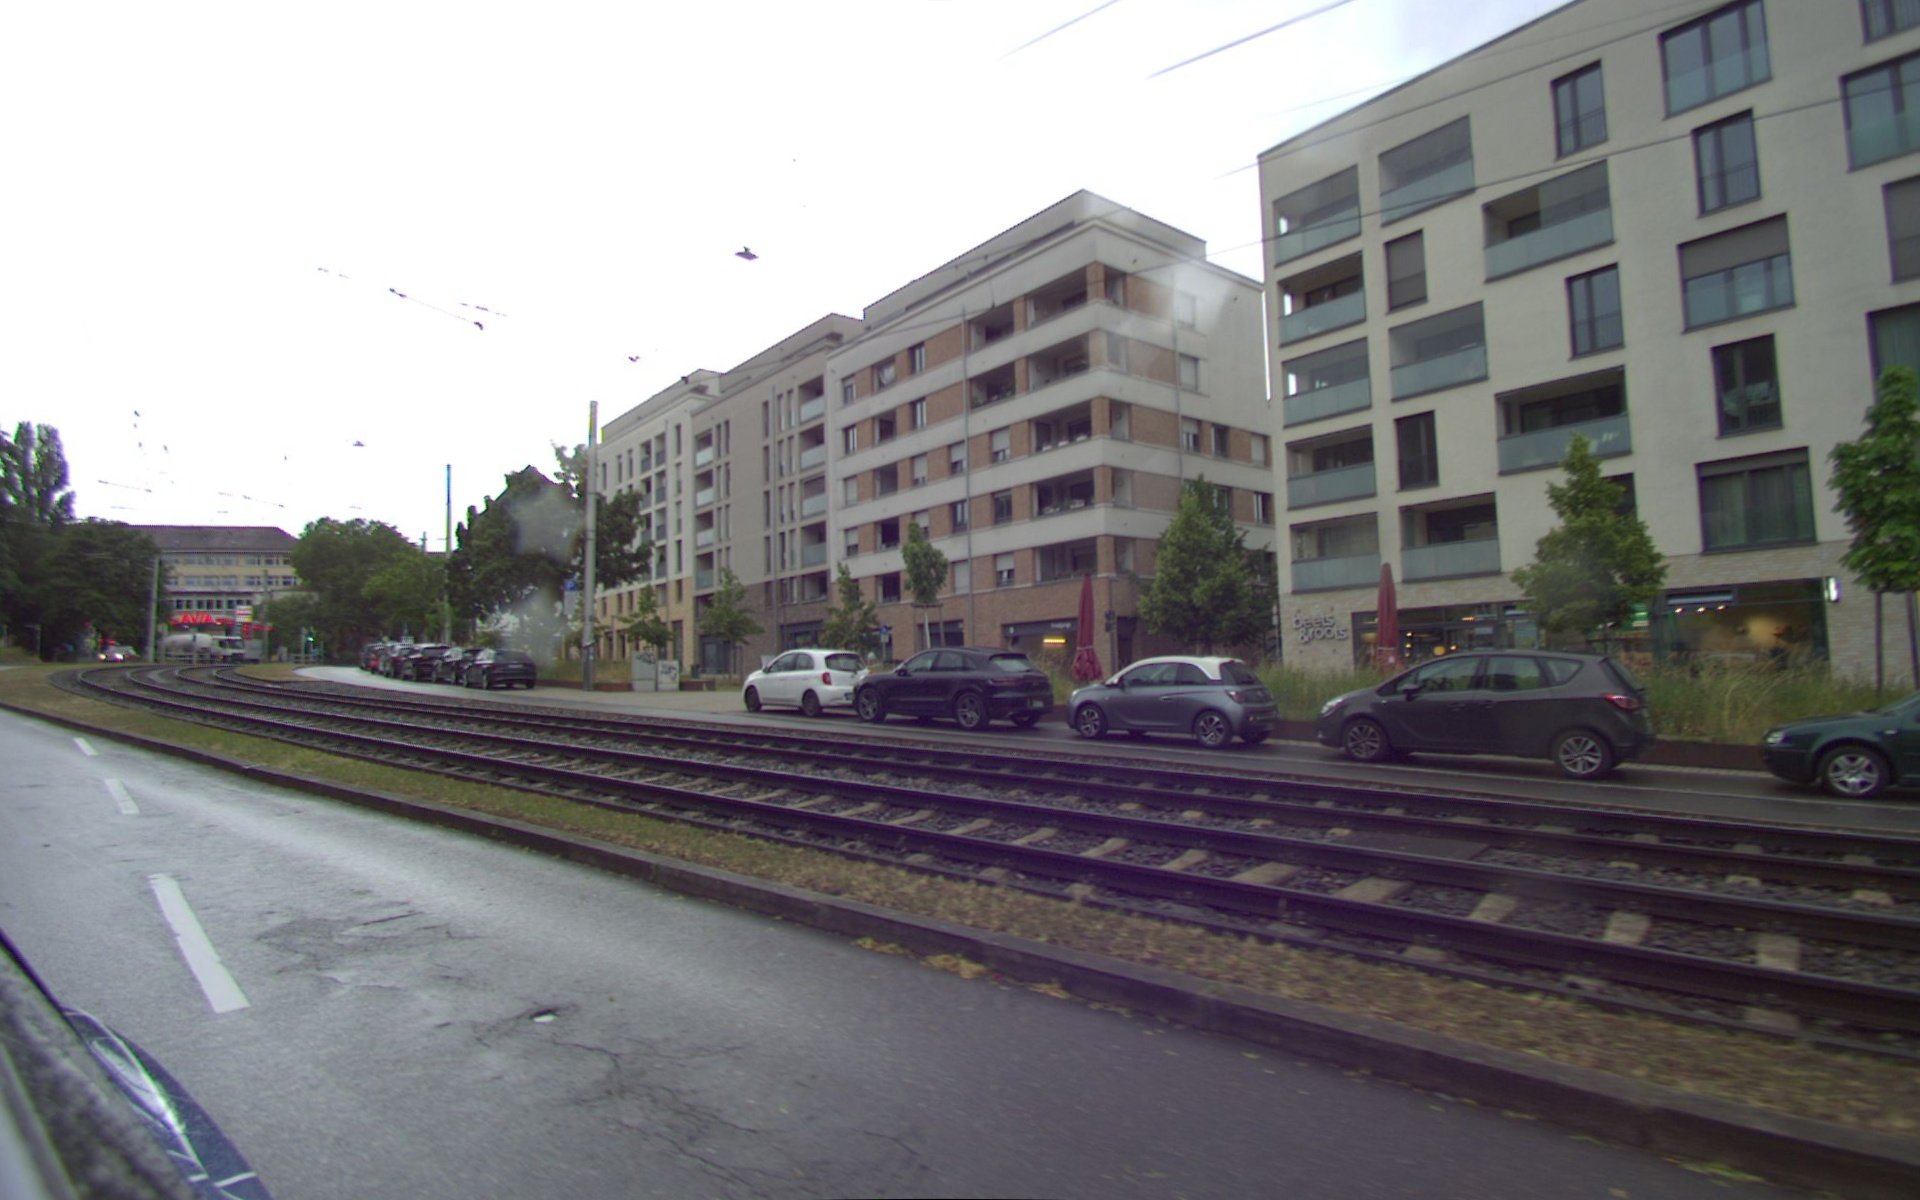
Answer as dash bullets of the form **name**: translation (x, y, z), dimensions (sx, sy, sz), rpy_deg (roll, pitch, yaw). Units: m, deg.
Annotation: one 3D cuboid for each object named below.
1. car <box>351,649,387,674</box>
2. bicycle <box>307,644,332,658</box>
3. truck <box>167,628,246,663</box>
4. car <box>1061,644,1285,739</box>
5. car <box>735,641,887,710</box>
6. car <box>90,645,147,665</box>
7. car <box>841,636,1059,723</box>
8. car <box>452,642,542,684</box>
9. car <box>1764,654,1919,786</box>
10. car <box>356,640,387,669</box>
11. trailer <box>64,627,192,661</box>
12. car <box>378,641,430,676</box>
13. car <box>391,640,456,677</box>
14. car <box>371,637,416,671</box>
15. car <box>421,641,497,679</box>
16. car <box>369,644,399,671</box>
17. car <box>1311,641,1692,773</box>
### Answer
- **car**: translation (-41.814, 4.304, 71.595), dimensions (1.966, 1.617, 4.226), rpy_deg (-1, -2, -33)
- **bicycle**: translation (-54.420, 4.329, 86.009), dimensions (1.684, 1.149, 0.627), rpy_deg (3, -5, -37)
- **truck**: translation (-78.617, 4.801, 105.694), dimensions (6.019, 3.426, 2.846), rpy_deg (2, -5, -26)
- **car**: translation (3.571, 1.505, 17.262), dimensions (3.449, 1.446, 1.533), rpy_deg (-2, -5, 41)
- **car**: translation (-3.589, 1.749, 23.928), dimensions (1.744, 1.490, 3.738), rpy_deg (4, -5, -42)
- **car**: translation (-66.331, 4.364, 79.809), dimensions (1.859, 1.502, 3.859), rpy_deg (1, -4, -13)
- **car**: translation (-0.279, 1.567, 20.582), dimensions (4.403, 1.573, 1.747), rpy_deg (-2, -5, 41)
- **car**: translation (-17.357, 2.329, 37.823), dimensions (1.942, 1.442, 4.205), rpy_deg (2, -4, -41)
- **car**: translation (11.149, 1.267, 10.745), dimensions (4.007, 1.373, 1.533), rpy_deg (-2, -4, 41)
- **car**: translation (-39.267, 3.623, 67.463), dimensions (1.560, 1.873, 4.344), rpy_deg (0, -3, -34)
- **trailer**: translation (-84.720, 4.553, 103.287), dimensions (9.667, 3.422, 2.822), rpy_deg (1, -4, -17)
- **car**: translation (-27.801, 2.916, 50.545), dimensions (1.709, 1.657, 4.542), rpy_deg (2, -4, -36)
- **car**: translation (-24.548, 2.648, 46.224), dimensions (1.780, 1.596, 4.707), rpy_deg (2, -4, -39)
- **car**: translation (-31.114, 2.978, 55.535), dimensions (1.641, 1.761, 4.267), rpy_deg (2, -4, -36)
- **car**: translation (-21.179, 2.504, 42.680), dimensions (1.716, 1.501, 4.261), rpy_deg (2, -4, -43)
- **car**: translation (-33.719, 3.360, 59.271), dimensions (1.449, 1.543, 2.940), rpy_deg (2, -4, -30)
- **car**: translation (7.274, 1.342, 13.867), dimensions (4.316, 1.525, 1.701), rpy_deg (-2, -3, 41)
